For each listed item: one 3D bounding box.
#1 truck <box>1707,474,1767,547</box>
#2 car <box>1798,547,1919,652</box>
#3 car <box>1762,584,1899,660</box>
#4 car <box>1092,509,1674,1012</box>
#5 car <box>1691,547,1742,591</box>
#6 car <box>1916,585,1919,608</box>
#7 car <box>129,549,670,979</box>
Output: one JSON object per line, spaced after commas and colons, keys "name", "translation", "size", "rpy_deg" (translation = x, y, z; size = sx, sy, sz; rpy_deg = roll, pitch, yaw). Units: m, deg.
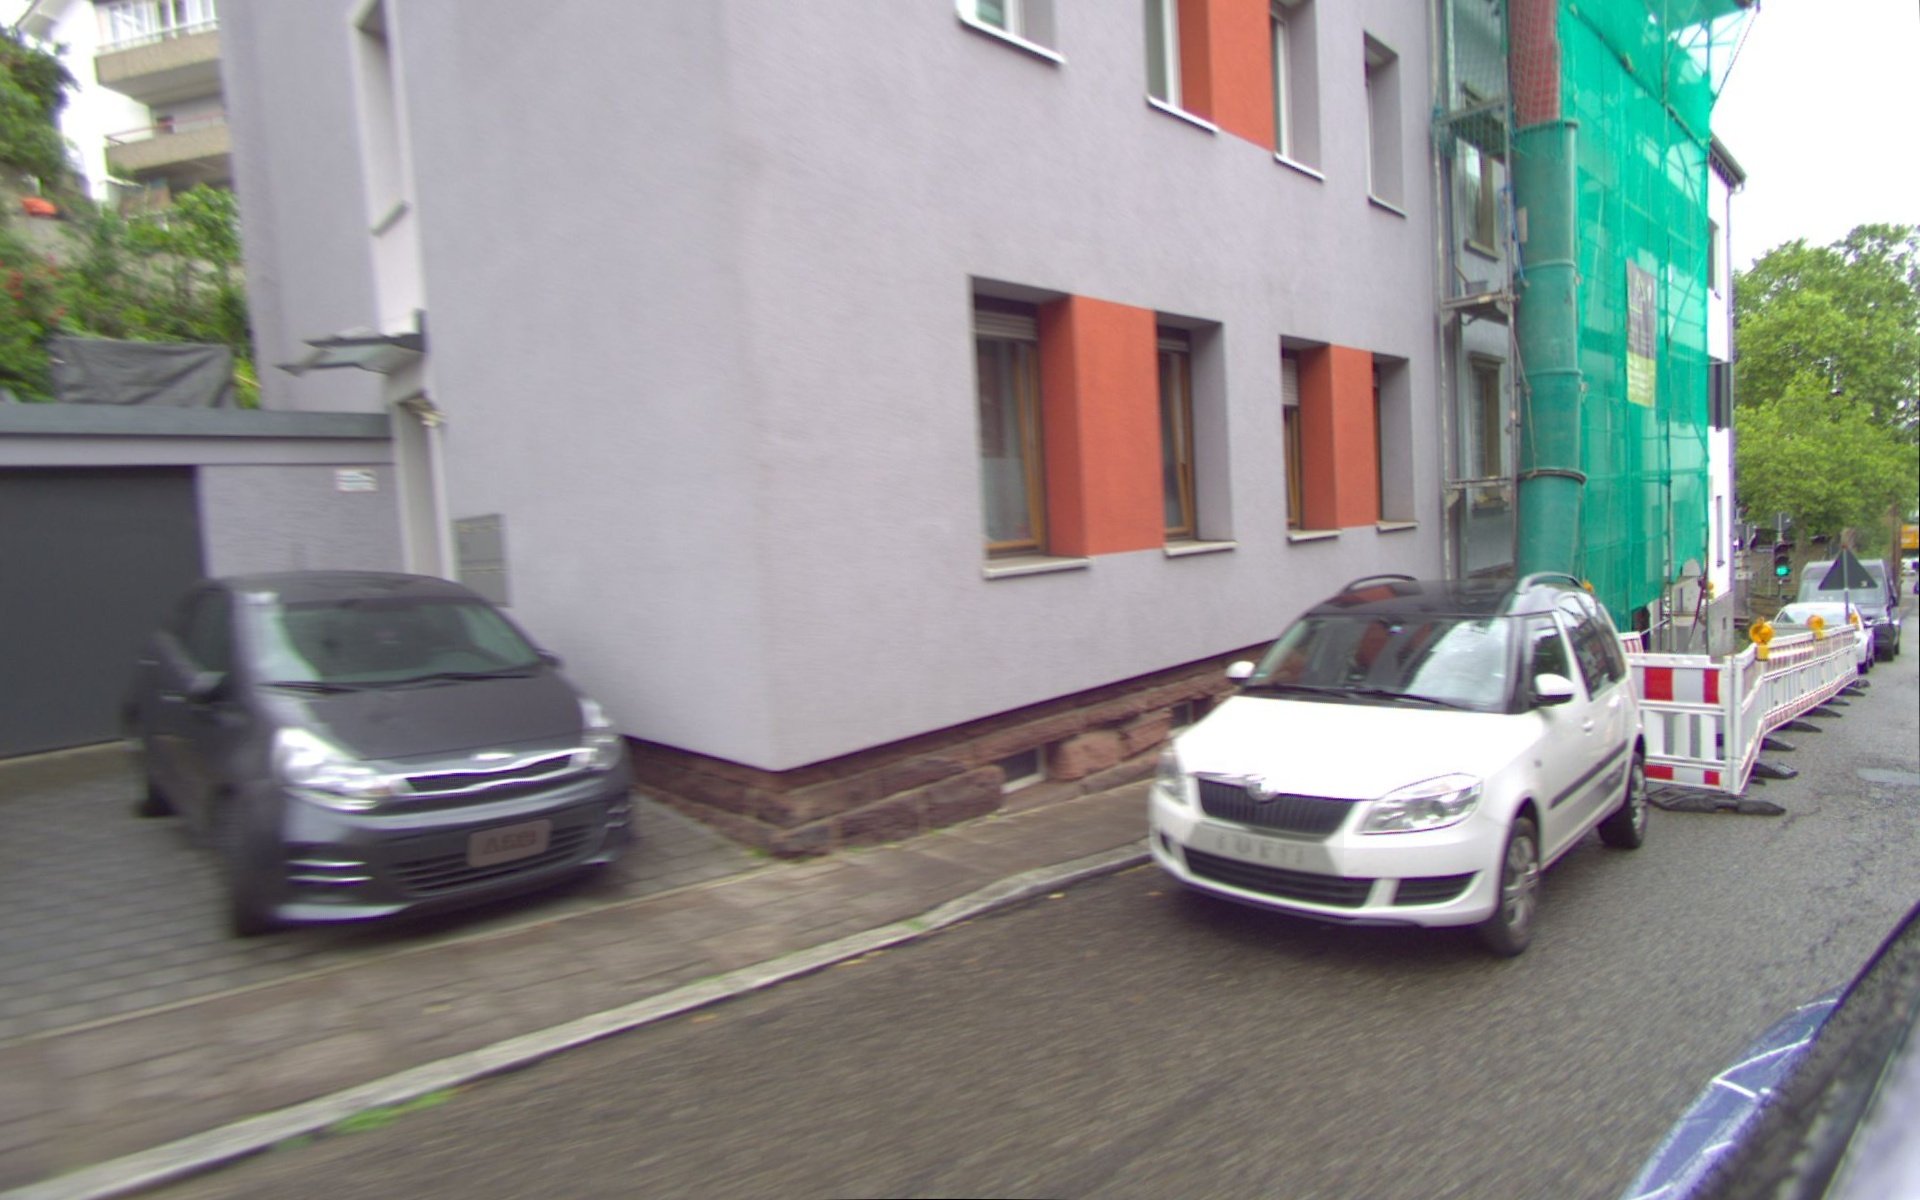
{"name": "truck", "translation": [49.702, -5.815, 64.626], "size": [2.742, 3.342, 11.100], "rpy_deg": [2, 12, 38]}
{"name": "car", "translation": [23.856, -0.090, 26.781], "size": [5.744, 2.444, 1.994], "rpy_deg": [-3, 1, -45]}
{"name": "car", "translation": [19.668, 0.448, 22.796], "size": [4.267, 1.531, 1.994], "rpy_deg": [-1, -1, -45]}
{"name": "car", "translation": [2.577, 0.598, 5.606], "size": [1.640, 1.785, 3.936], "rpy_deg": [-2, -2, 44]}
{"name": "car", "translation": [37.632, -1.556, 50.309], "size": [1.629, 1.509, 4.291], "rpy_deg": [-2, 8, 42]}
{"name": "car", "translation": [67.689, -0.242, 70.404], "size": [1.633, 1.549, 3.936], "rpy_deg": [-2, -1, 44]}
{"name": "car", "translation": [-3.315, 0.561, 5.622], "size": [3.803, 1.570, 1.634], "rpy_deg": [1, 1, 45]}
